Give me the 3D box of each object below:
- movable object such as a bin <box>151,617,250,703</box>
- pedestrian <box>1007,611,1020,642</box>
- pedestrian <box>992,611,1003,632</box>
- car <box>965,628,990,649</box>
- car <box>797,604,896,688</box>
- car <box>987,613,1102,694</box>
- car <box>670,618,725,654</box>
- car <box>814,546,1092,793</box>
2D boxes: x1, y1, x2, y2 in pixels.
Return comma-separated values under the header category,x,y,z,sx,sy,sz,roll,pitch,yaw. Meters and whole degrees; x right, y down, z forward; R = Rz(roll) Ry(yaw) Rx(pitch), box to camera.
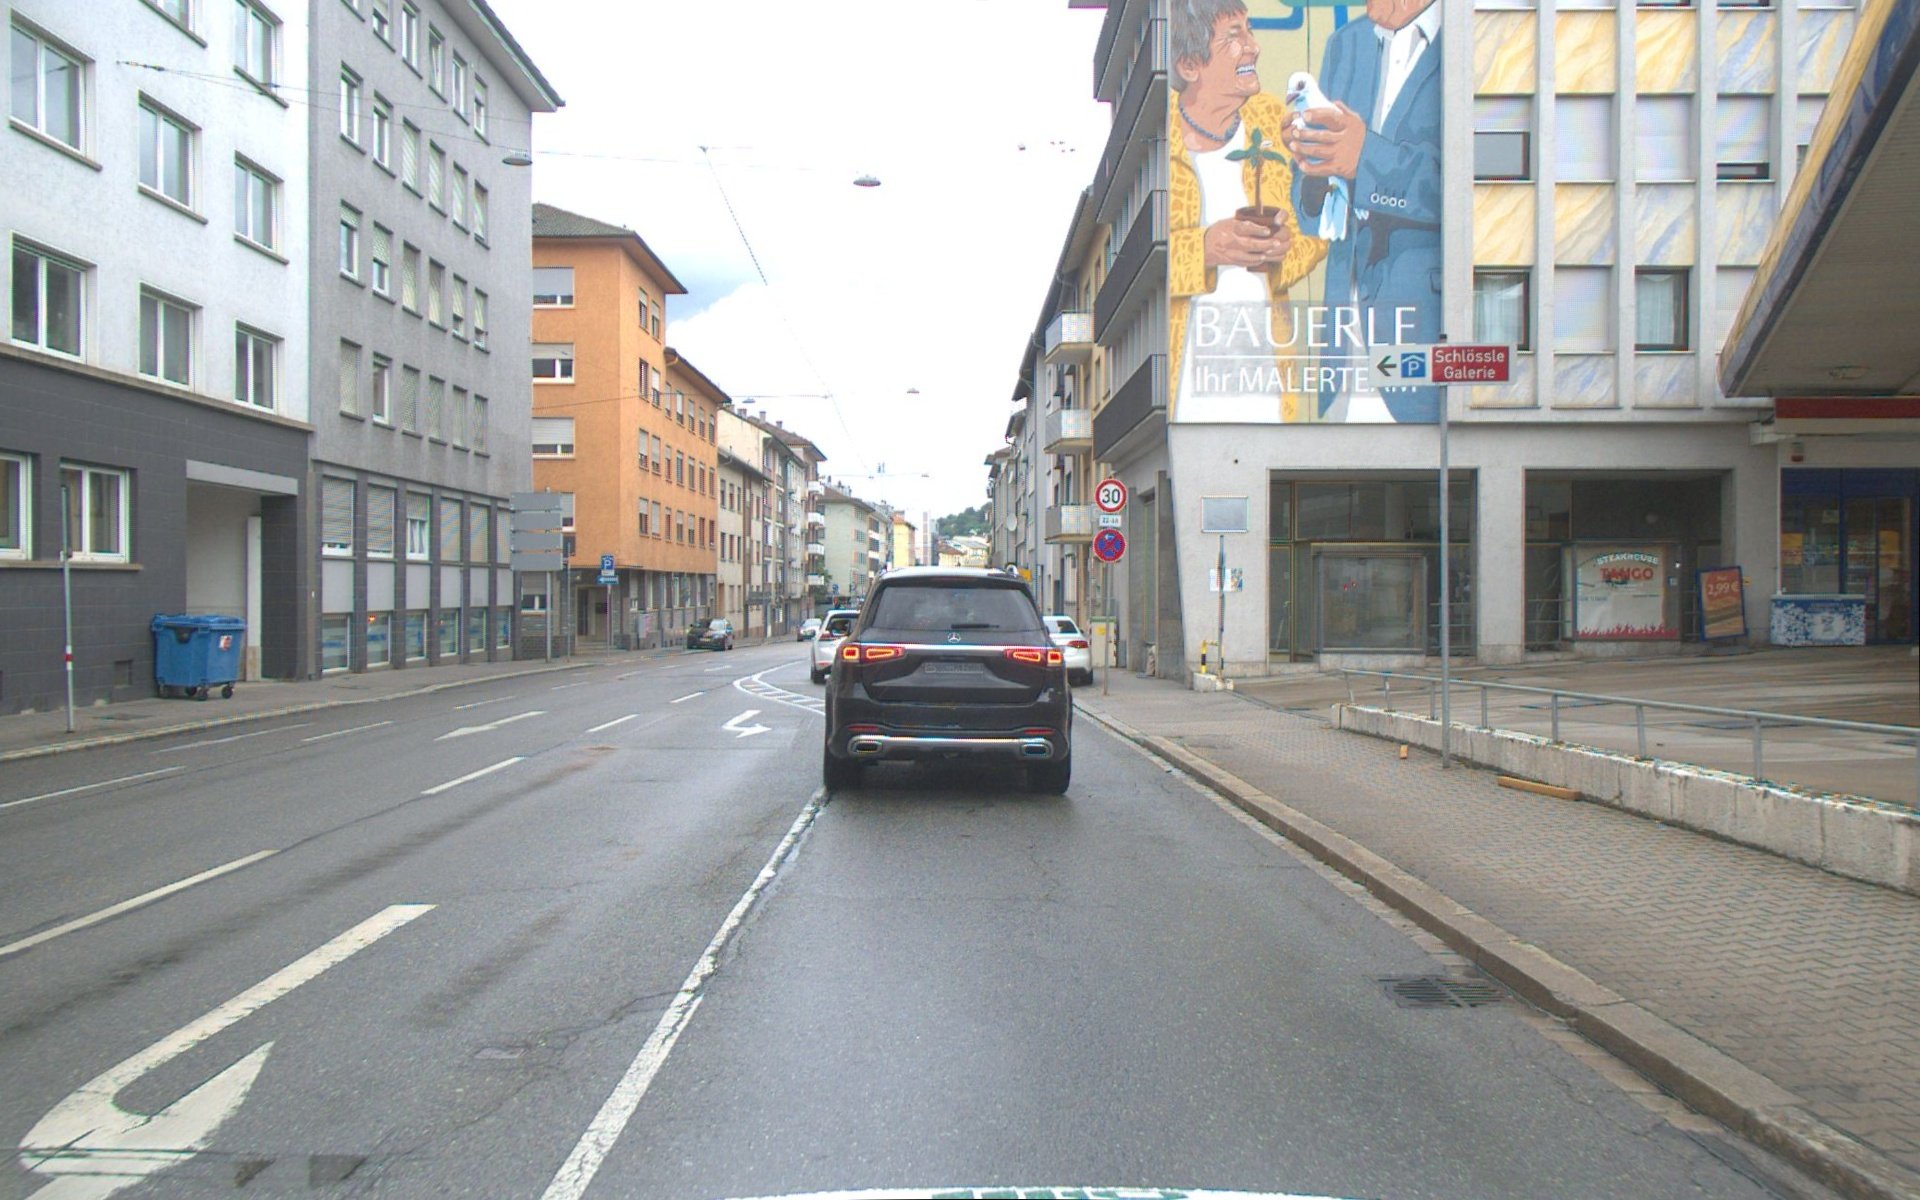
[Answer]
category,x,y,z,sx,sy,sz,roll,pitch,yaw
movable object such as a bin,-12.487,0.972,27.230,1.054,1.347,1.190,1,-1,-1
pedestrian,3.174,1.573,98.051,0.642,1.782,0.742,-2,-1,4
pedestrian,2.893,1.674,128.428,0.804,1.592,0.900,1,-1,2
car,1.297,2.883,124.944,1.699,1.412,4.581,2,0,-2
car,-2.298,0.902,34.157,1.855,1.537,4.171,3,0,-3
car,1.708,1.073,34.950,1.856,1.427,4.606,-5,0,-3
car,-11.663,1.564,73.629,1.853,1.484,4.547,2,0,-2
car,-0.079,0.528,14.698,2.034,1.796,4.610,2,0,-1
